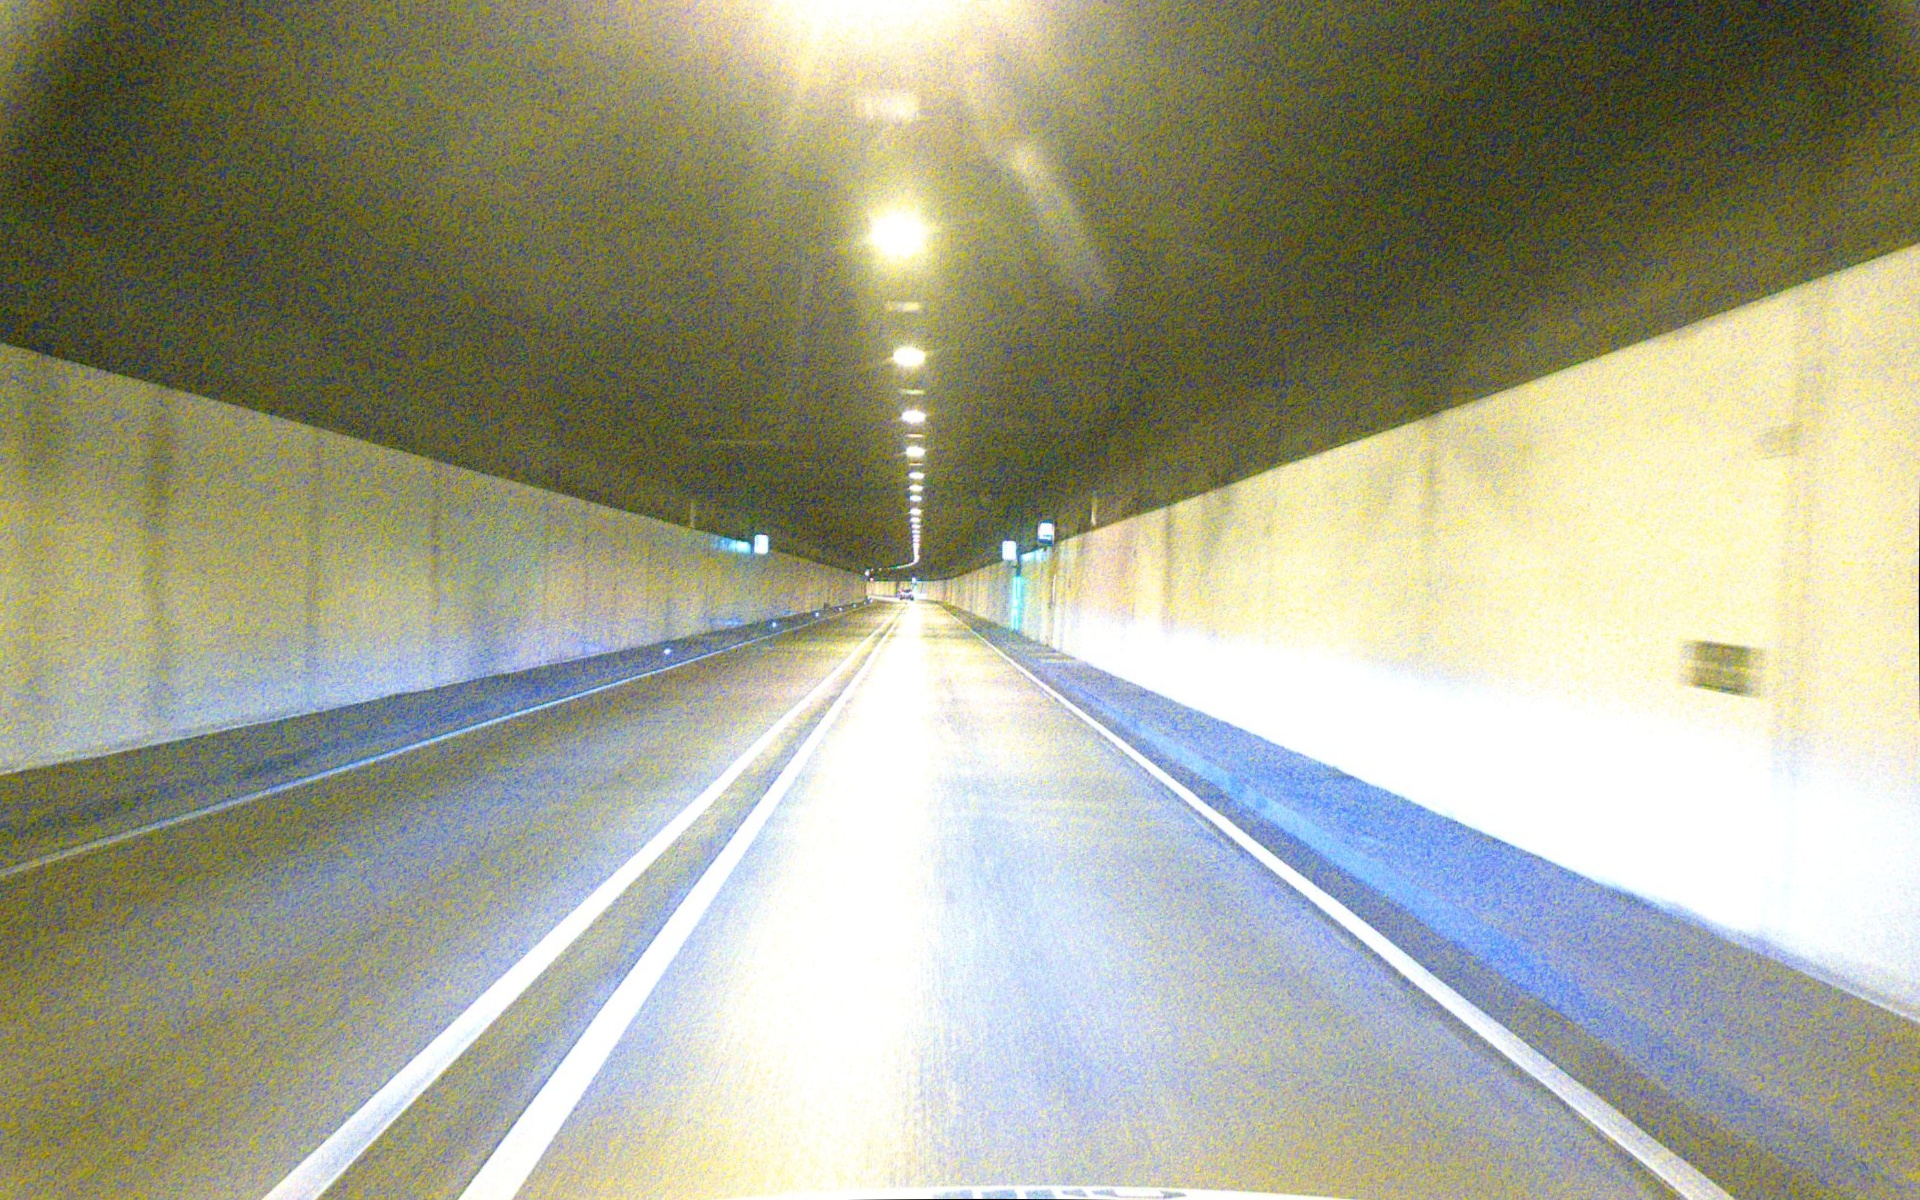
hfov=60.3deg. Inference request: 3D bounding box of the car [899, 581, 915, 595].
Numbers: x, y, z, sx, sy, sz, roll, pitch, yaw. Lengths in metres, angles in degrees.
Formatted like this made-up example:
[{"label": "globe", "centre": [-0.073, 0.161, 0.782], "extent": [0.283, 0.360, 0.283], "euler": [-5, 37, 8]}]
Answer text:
[{"label": "car", "centre": [-7.536, -1.681, 235.001], "extent": [1.929, 1.972, 4.606], "euler": [1, 0, -6]}]
